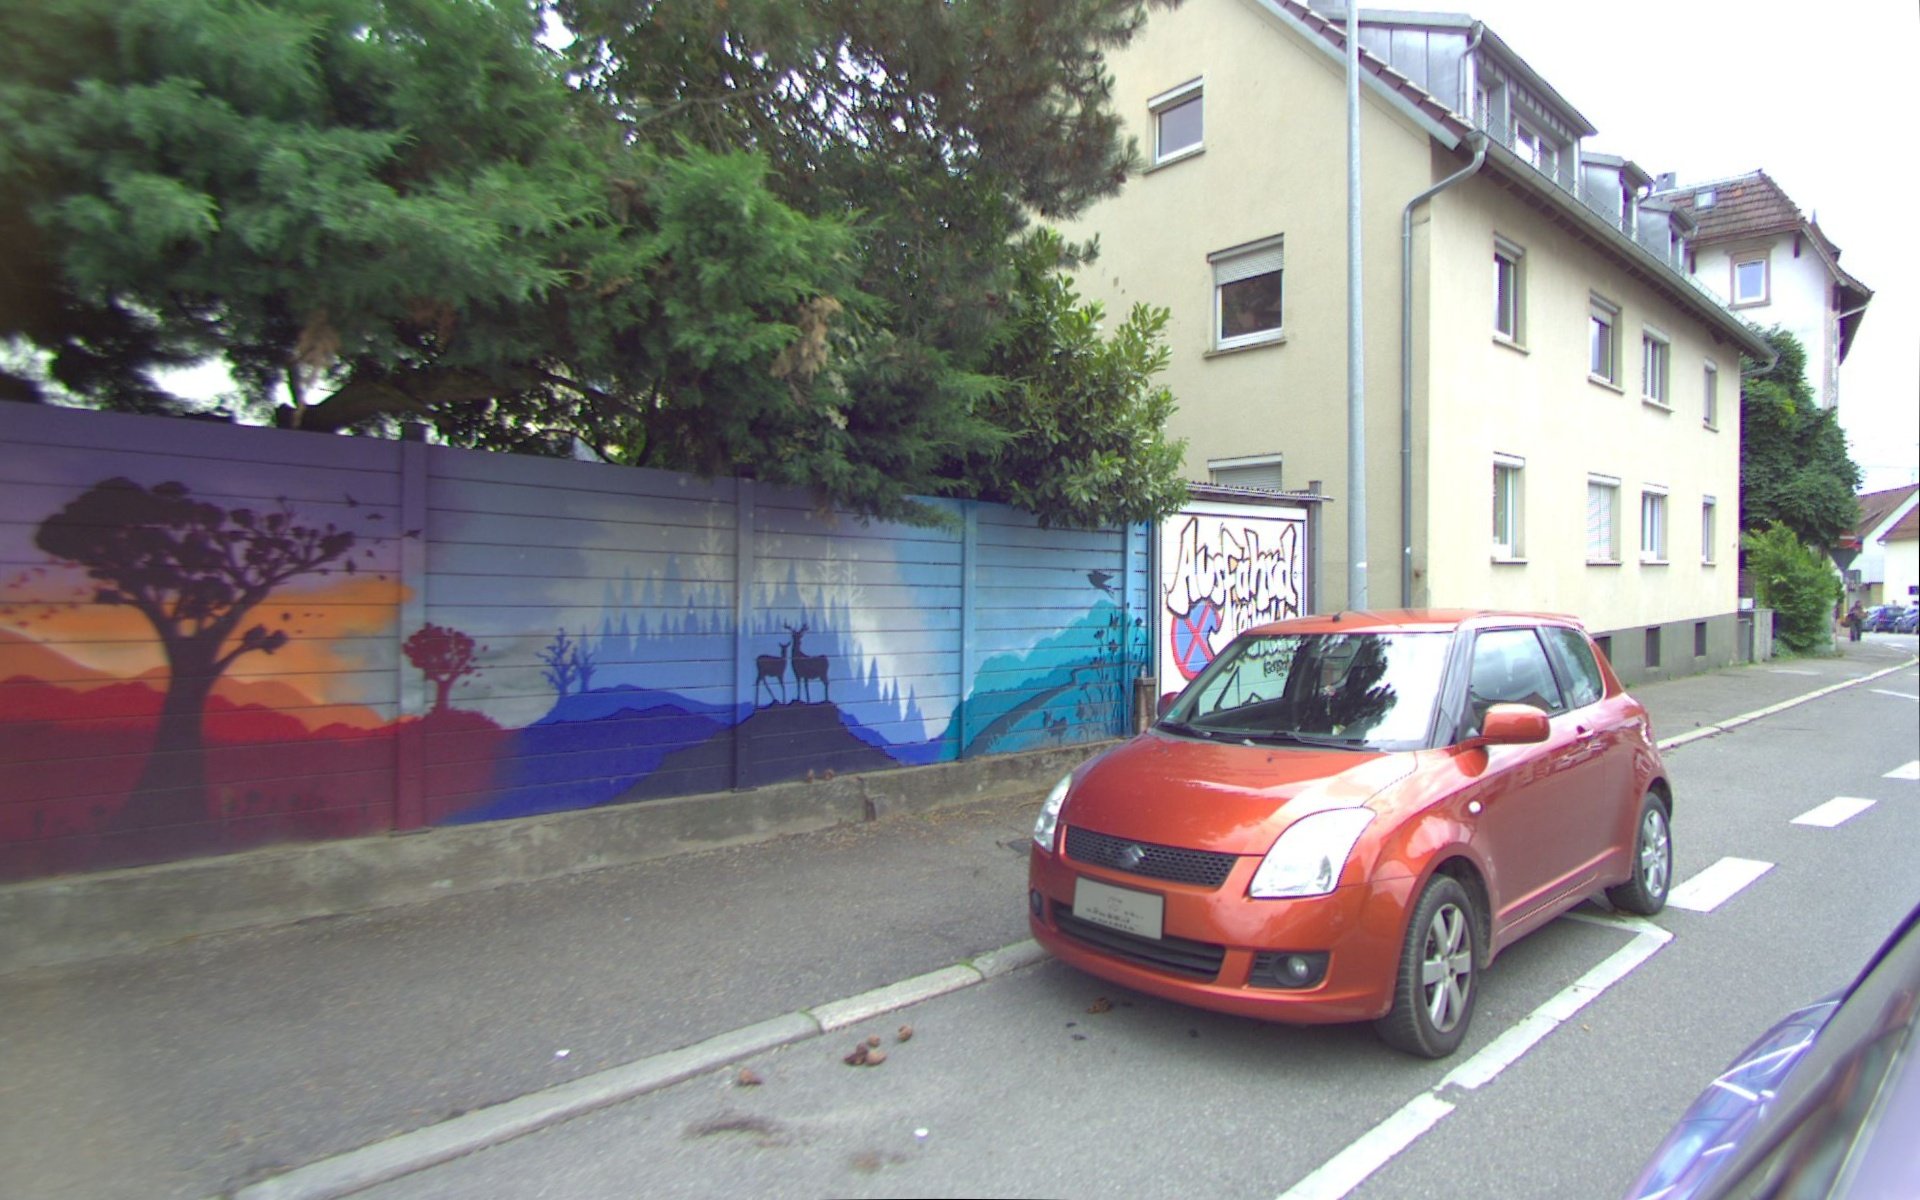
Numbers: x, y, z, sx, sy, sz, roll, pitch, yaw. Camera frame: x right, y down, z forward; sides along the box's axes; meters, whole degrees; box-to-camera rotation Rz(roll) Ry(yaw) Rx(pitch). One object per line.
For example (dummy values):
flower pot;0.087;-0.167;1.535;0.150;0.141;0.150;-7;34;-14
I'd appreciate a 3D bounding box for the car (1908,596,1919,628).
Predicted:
car;60.435;0.762;62.353;1.759;1.967;4.280;4;0;28

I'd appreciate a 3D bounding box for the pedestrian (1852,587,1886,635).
pedestrian;34.010;0.401;37.880;0.856;1.755;1.008;0;-2;37

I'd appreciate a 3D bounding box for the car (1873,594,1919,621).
car;63.720;0.542;68.671;1.707;1.753;3.958;0;-1;29

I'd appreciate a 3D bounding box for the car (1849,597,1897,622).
car;66.491;0.726;73.762;1.707;1.753;3.958;0;-1;29

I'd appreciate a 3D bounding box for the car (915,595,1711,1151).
car;1.873;0.730;4.677;3.930;1.470;1.761;0;-1;-41
